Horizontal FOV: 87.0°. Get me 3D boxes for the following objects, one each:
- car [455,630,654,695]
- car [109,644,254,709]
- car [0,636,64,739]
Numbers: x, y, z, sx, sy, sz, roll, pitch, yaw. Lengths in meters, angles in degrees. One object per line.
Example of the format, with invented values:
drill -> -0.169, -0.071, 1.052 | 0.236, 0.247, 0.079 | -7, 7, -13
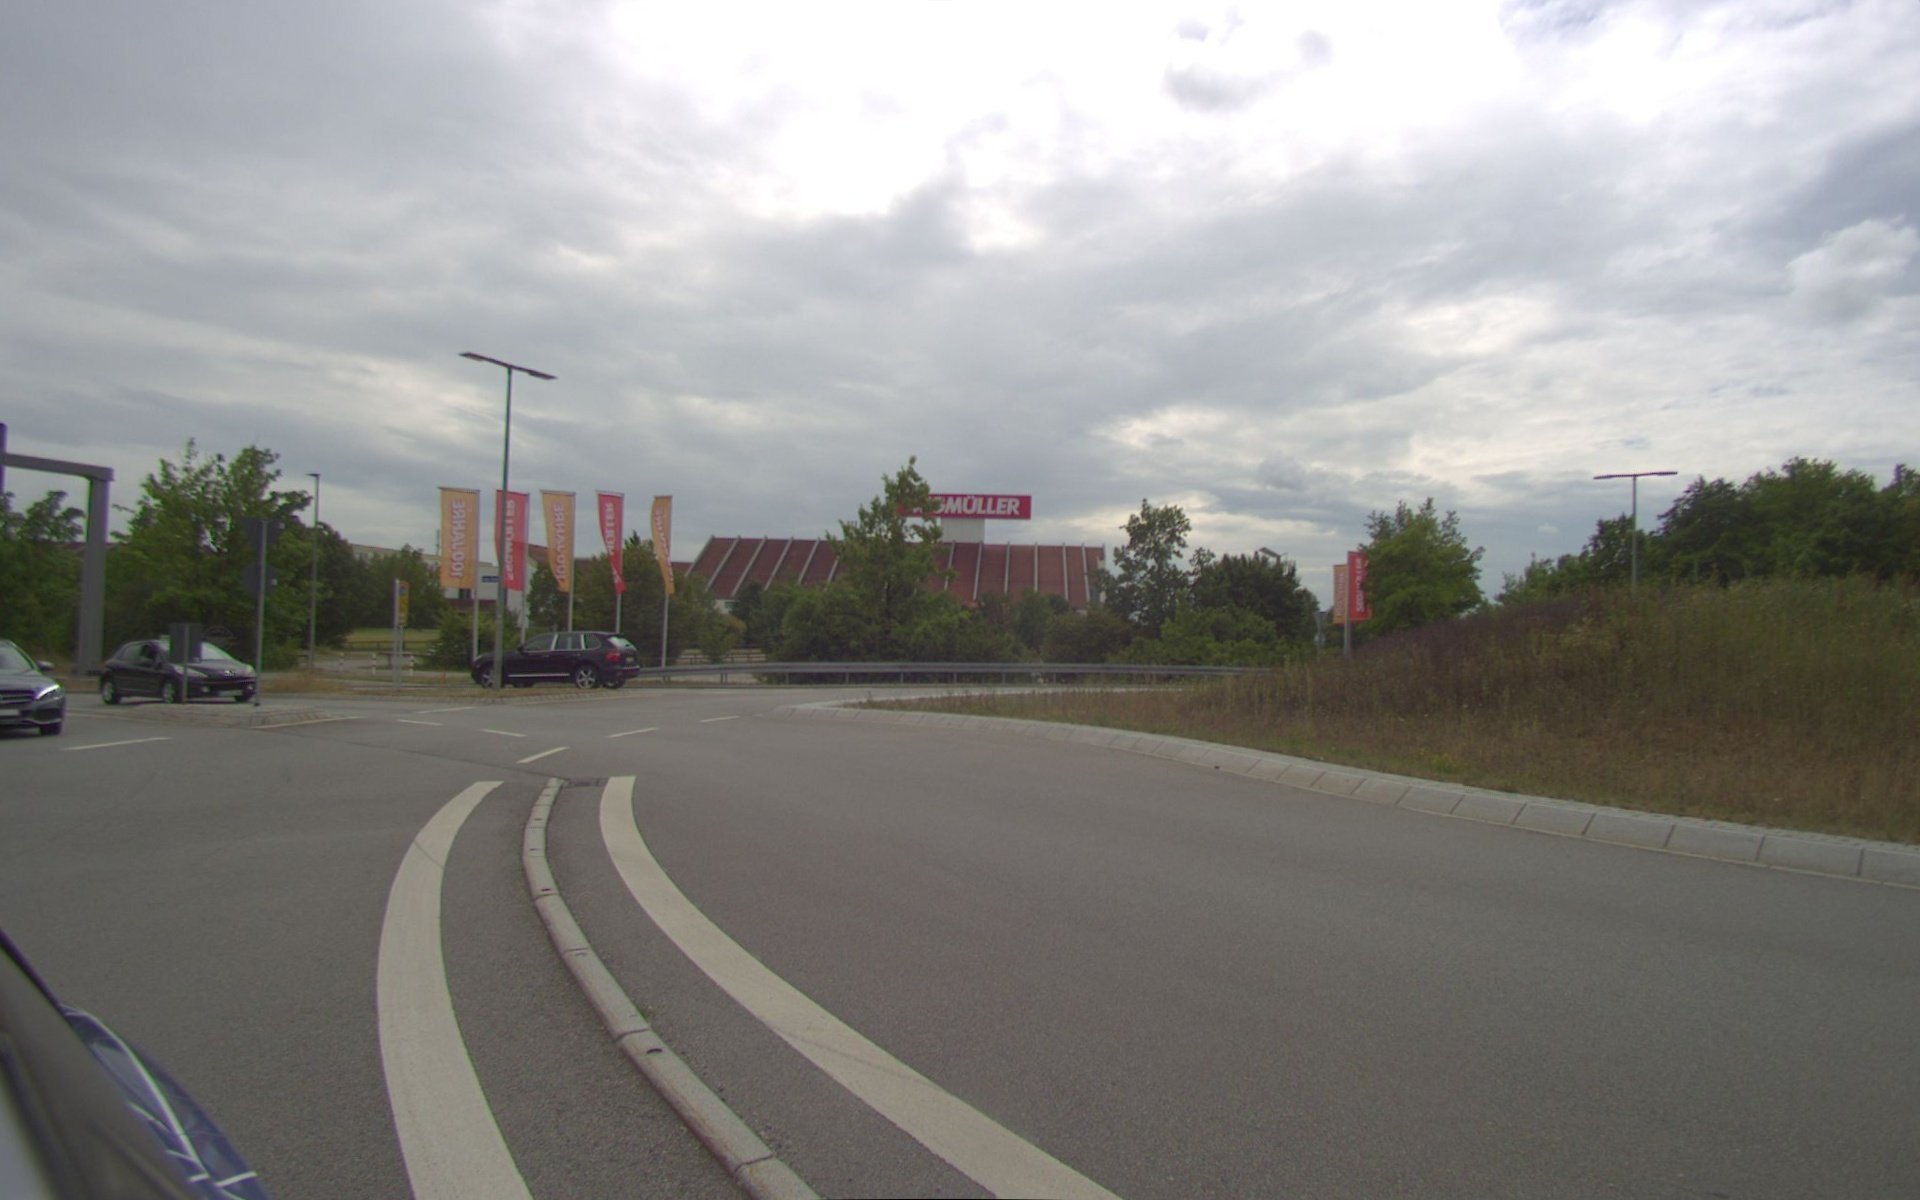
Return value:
car -> -11.723, 1.788, 29.510 | 4.978, 1.804, 2.106 | 0, -2, -1
car -> -18.083, 1.738, 23.479 | 3.813, 1.364, 1.563 | -3, -3, 34
car -> -15.150, 1.343, 15.167 | 4.083, 1.431, 1.744 | -4, -5, 36
